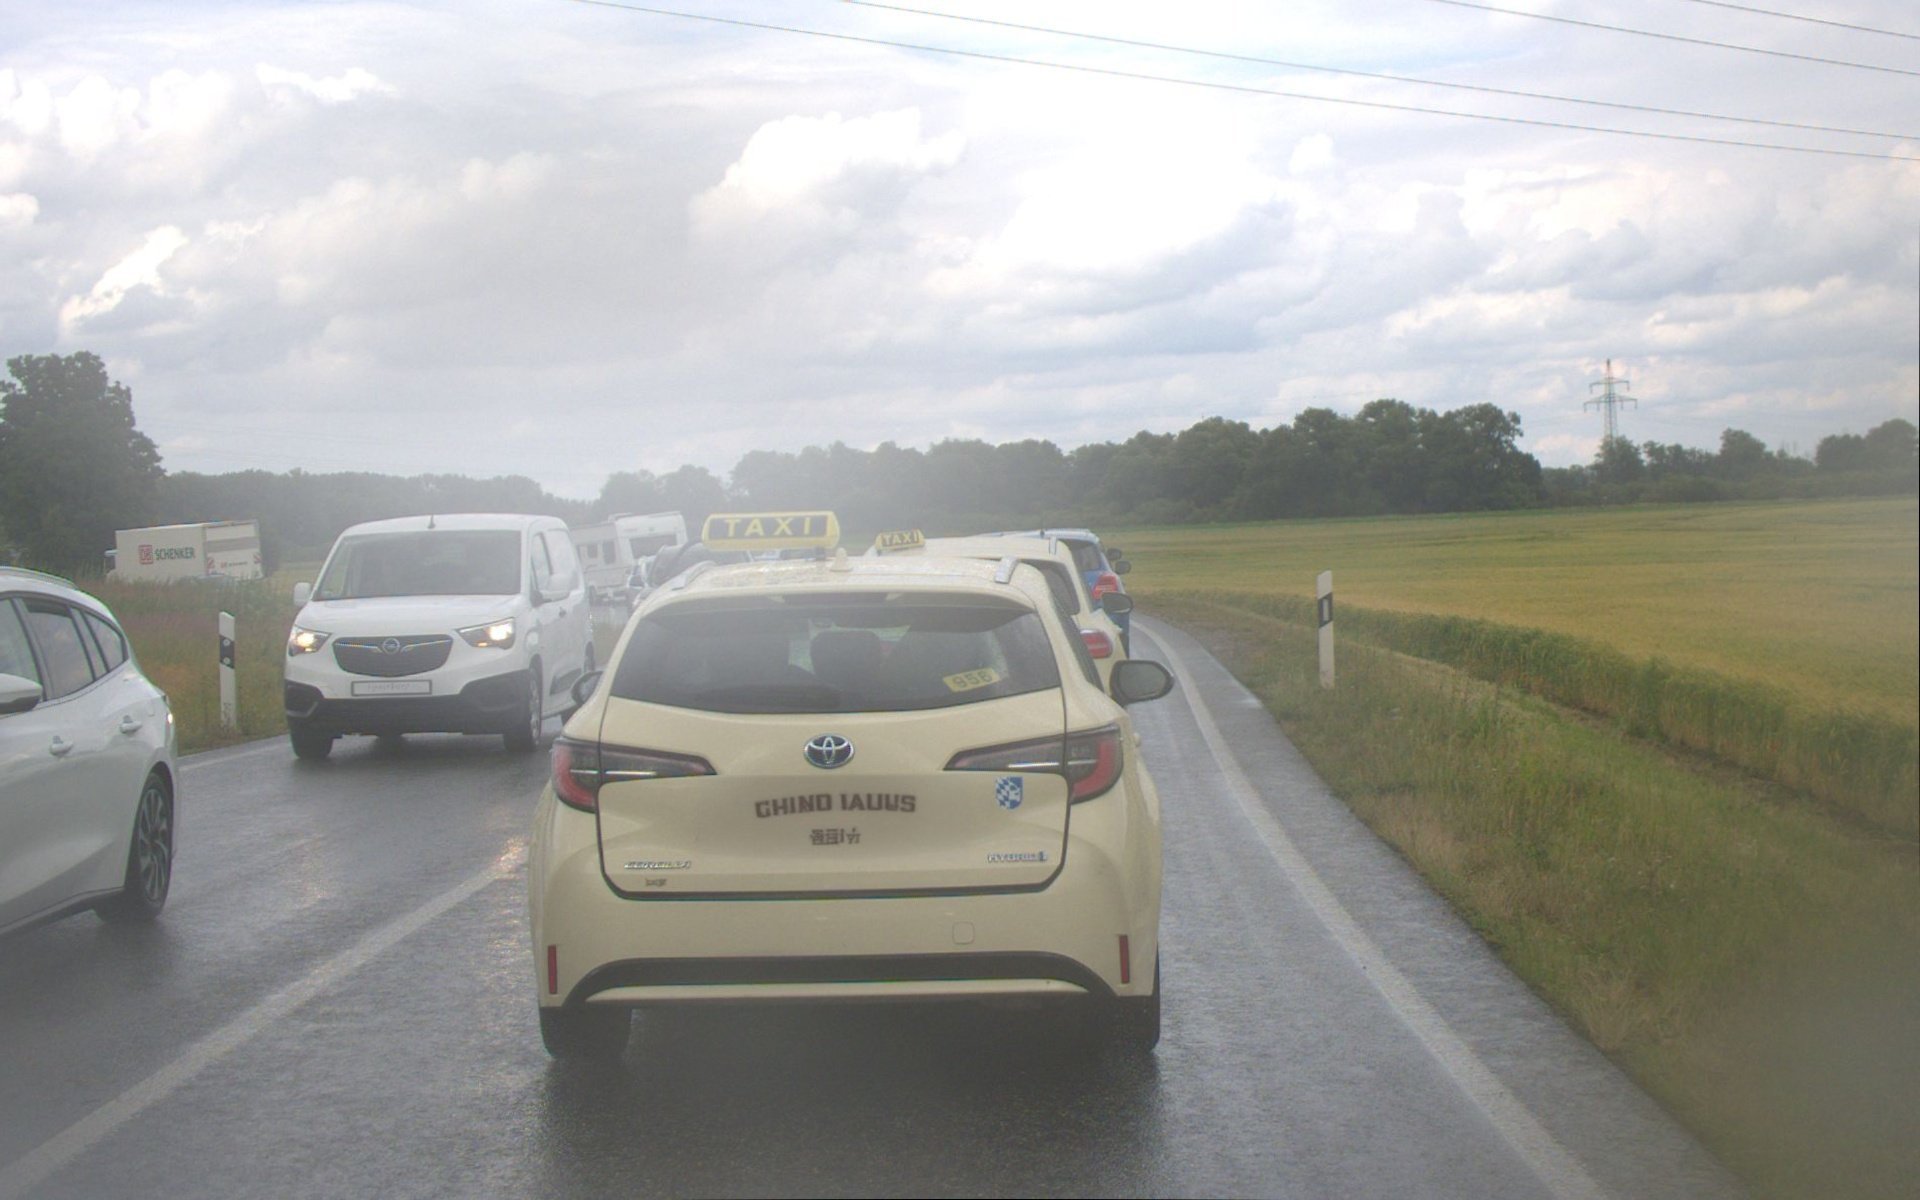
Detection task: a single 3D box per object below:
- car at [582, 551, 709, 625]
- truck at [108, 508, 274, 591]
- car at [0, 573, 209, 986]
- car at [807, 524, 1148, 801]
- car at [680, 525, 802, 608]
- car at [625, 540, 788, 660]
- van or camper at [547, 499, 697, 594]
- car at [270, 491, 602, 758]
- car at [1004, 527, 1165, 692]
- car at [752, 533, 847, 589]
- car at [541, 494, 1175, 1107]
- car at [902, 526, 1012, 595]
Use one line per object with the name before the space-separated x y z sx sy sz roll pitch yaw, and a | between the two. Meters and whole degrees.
car | -7.228 -0.292 78.605 1.927 1.626 4.722 -1 1 -17
truck | -31.039 -1.992 138.576 3.014 3.198 8.229 1 -1 -40
car | -4.125 0.605 12.285 1.844 1.383 4.287 0 0 1
car | 0.103 0.309 21.014 1.841 1.487 4.608 1 1 0
car | -4.137 -0.631 64.442 1.848 1.443 4.092 -2 1 -9
car | -3.615 -0.033 49.805 1.849 1.626 4.534 -1 1 2
van or camper | -10.702 -1.675 108.346 2.536 2.886 6.744 0 1 -25
car | -3.899 0.157 26.279 1.844 1.849 4.447 1 0 0
car | 1.321 0.109 36.688 1.613 1.653 3.738 1 0 2
car | -4.325 -1.036 91.983 1.783 1.408 3.739 1 0 -15
car | -0.258 0.527 10.707 1.613 1.557 3.738 1 0 0
car | -0.102 -0.832 74.782 1.959 1.408 4.393 1 0 -6
